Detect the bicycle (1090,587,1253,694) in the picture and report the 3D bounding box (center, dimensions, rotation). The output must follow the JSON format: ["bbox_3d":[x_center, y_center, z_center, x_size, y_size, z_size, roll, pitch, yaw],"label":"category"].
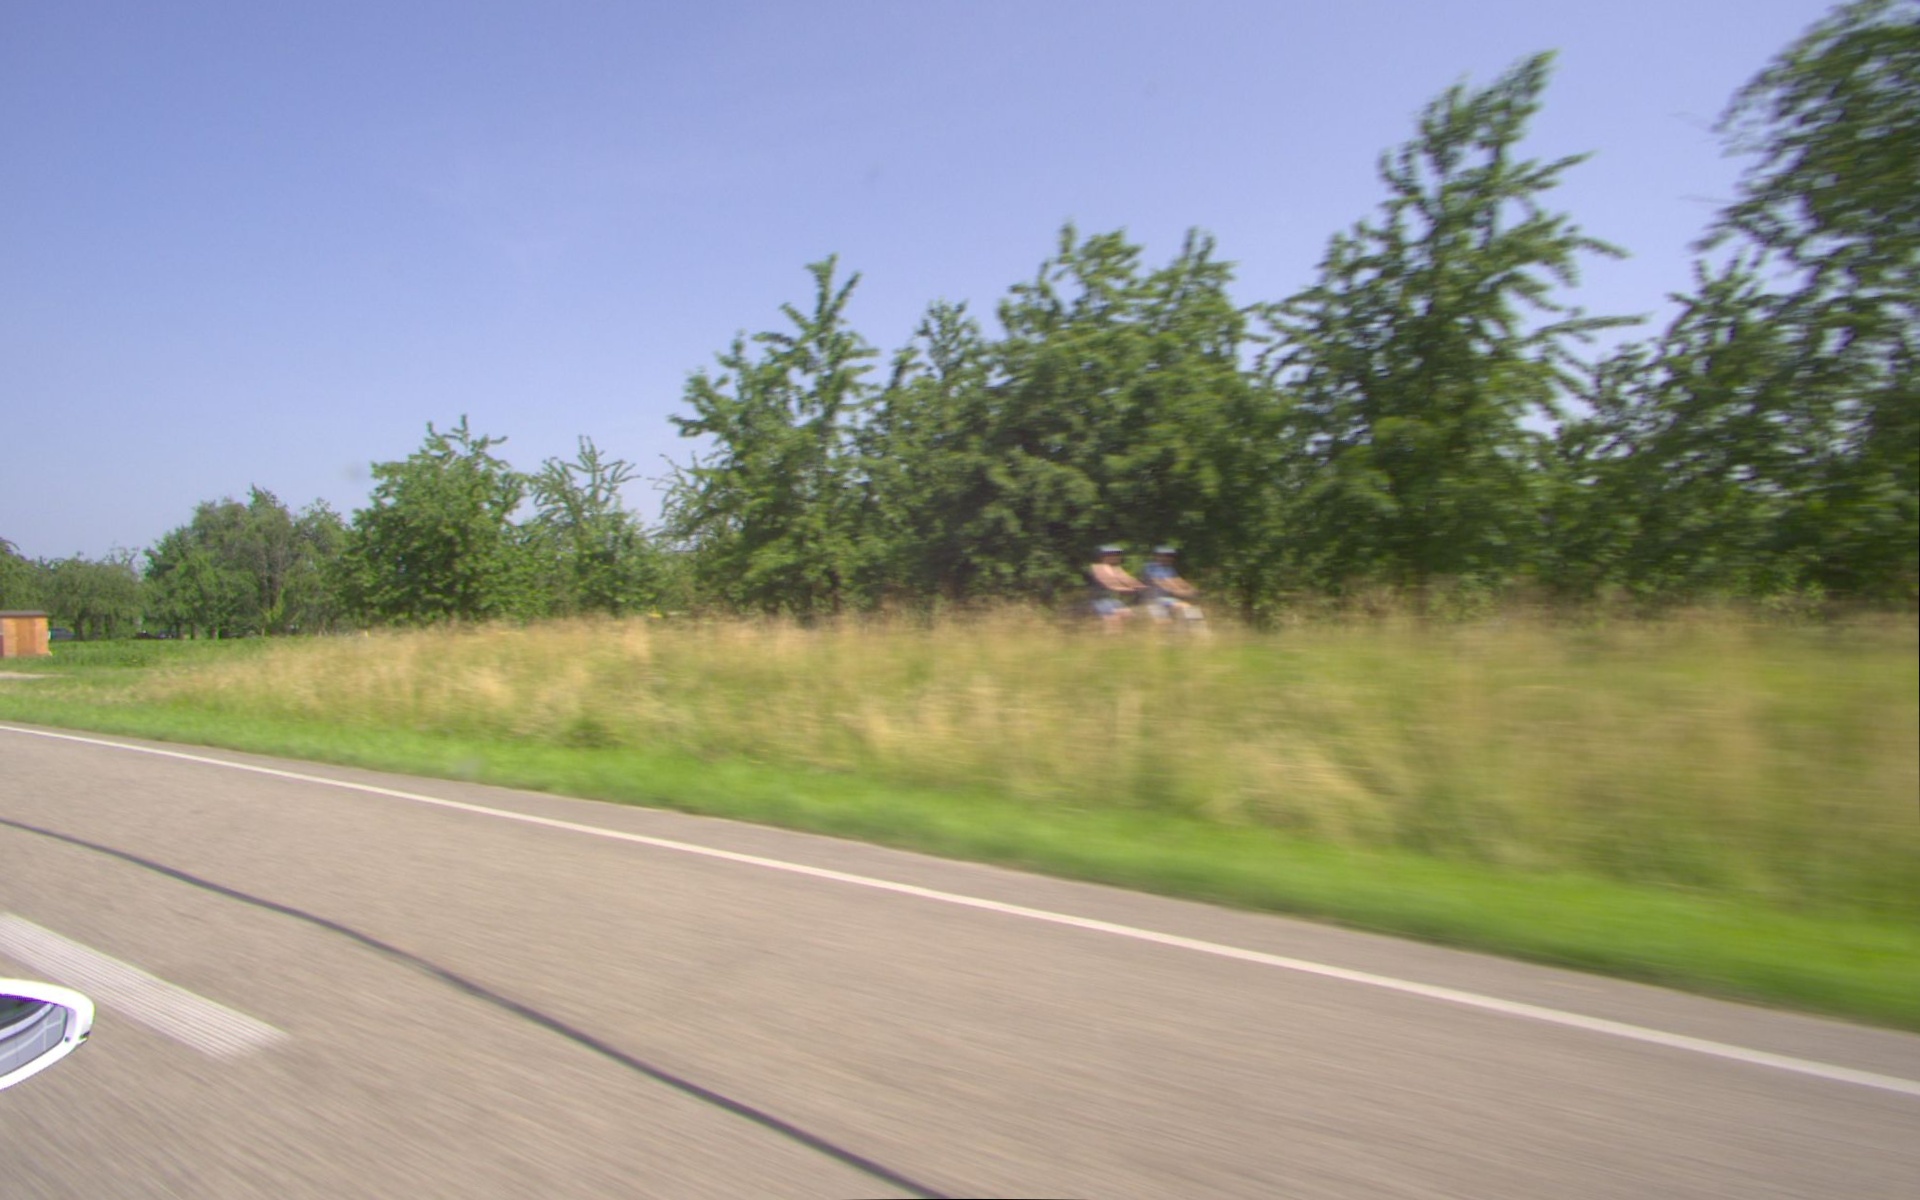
[{"bbox_3d":[3.032,0.555,14.456,2.191,1.437,0.747,-1,1,35],"label":"bicycle"}]

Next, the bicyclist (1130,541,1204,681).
[{"bbox_3d":[3.000,0.155,14.471,0.816,1.955,0.747,0,1,35],"label":"bicyclist"}]

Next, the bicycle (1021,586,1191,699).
[{"bbox_3d":[1.971,0.546,13.676,2.191,1.437,0.747,-1,1,35],"label":"bicycle"}]

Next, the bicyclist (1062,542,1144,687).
[{"bbox_3d":[1.954,0.195,13.684,0.857,1.891,0.747,0,1,35],"label":"bicyclist"}]
